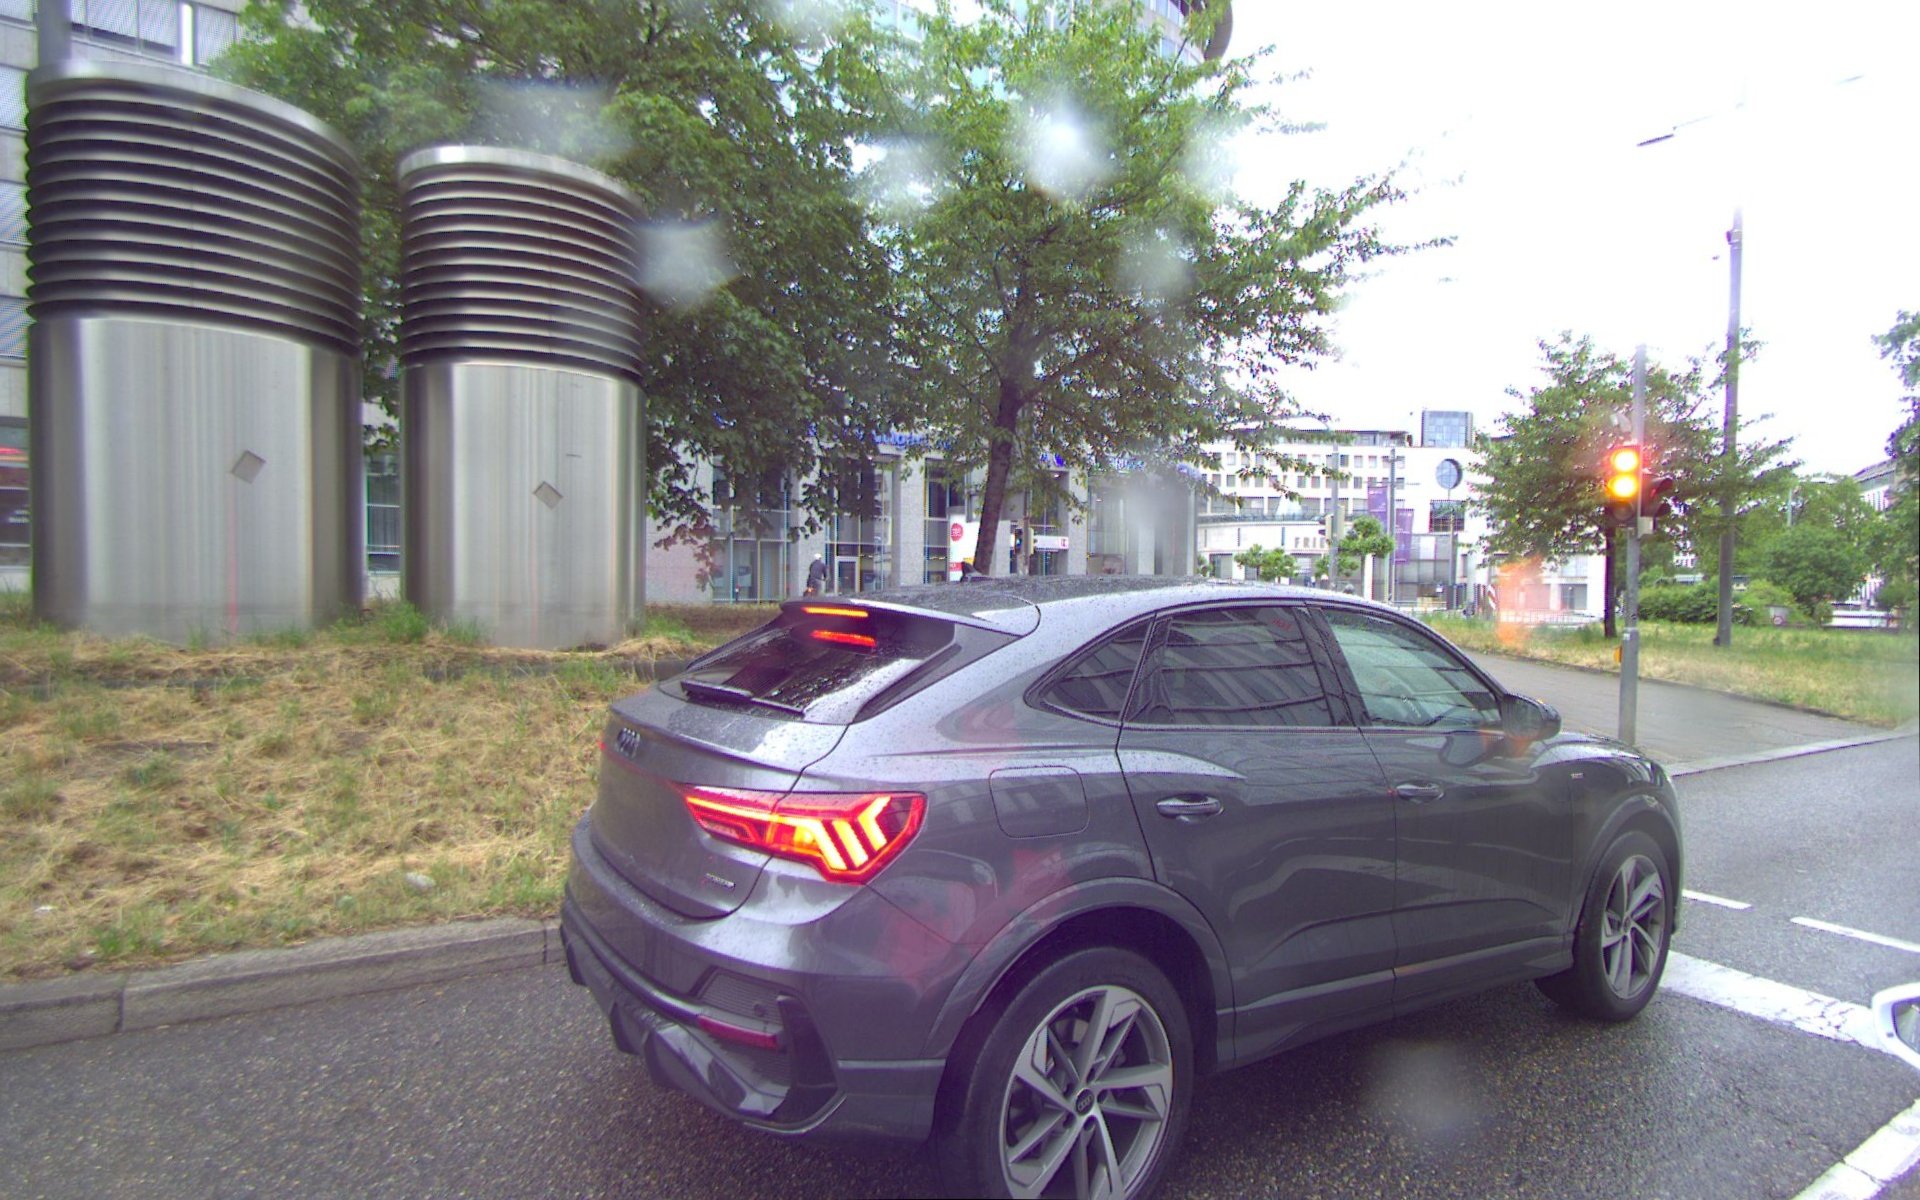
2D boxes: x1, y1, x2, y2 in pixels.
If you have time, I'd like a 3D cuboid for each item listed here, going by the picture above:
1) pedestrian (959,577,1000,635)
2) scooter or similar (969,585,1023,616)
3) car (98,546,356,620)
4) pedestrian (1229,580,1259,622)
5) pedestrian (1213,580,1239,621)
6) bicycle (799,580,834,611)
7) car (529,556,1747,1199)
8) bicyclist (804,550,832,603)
[{"bbox_3d":[0.658,0.190,33.461,0.946,1.906,0.927,2,0,44],"label":"pedestrian"},{"bbox_3d":[1.485,0.032,41.317,2.226,1.229,0.767,1,1,-38],"label":"scooter or similar"},{"bbox_3d":[-15.440,-0.334,21.357,4.282,1.404,1.662,1,3,-38],"label":"car"},{"bbox_3d":[14.037,0.054,49.670,1.041,2.040,1.029,2,0,44],"label":"pedestrian"},{"bbox_3d":[13.348,0.037,50.365,0.840,2.040,1.029,2,0,43],"label":"pedestrian"},{"bbox_3d":[-4.895,-0.147,34.409,0.731,1.020,1.935,1,0,5],"label":"bicycle"},{"bbox_3d":[0.903,0.716,3.678,4.300,1.538,1.849,1,1,-34],"label":"car"},{"bbox_3d":[-4.876,-0.797,34.506,0.724,1.764,1.042,1,0,5],"label":"bicyclist"}]
